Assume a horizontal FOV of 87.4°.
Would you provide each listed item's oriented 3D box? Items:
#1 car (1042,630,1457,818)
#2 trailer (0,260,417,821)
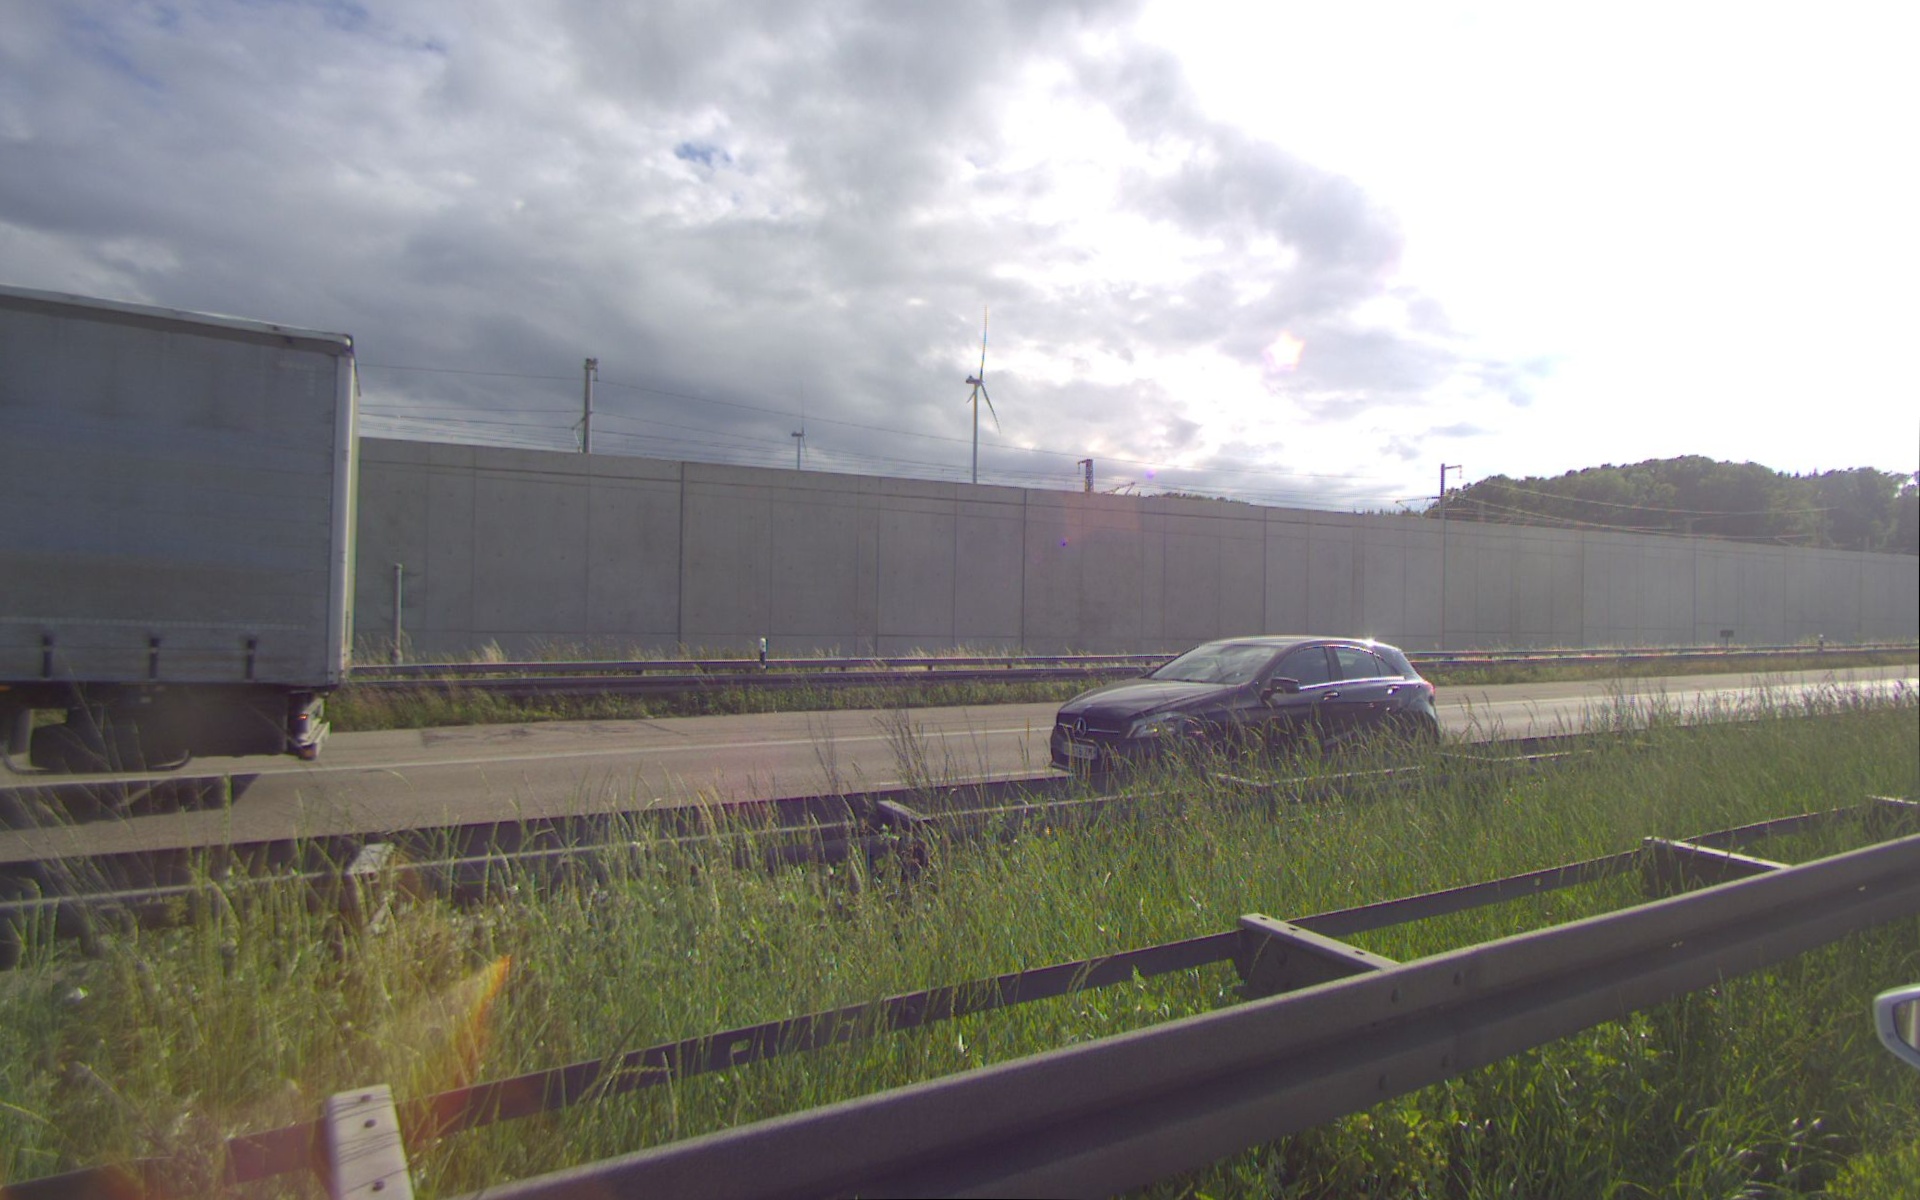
[{"bbox_3d":[2.866,1.057,9.730,3.910,1.470,1.644,2,-1,-31],"label":"car"},{"bbox_3d":[-11.195,-0.501,6.515,13.365,4.130,2.777,2,-3,-31],"label":"trailer"}]
